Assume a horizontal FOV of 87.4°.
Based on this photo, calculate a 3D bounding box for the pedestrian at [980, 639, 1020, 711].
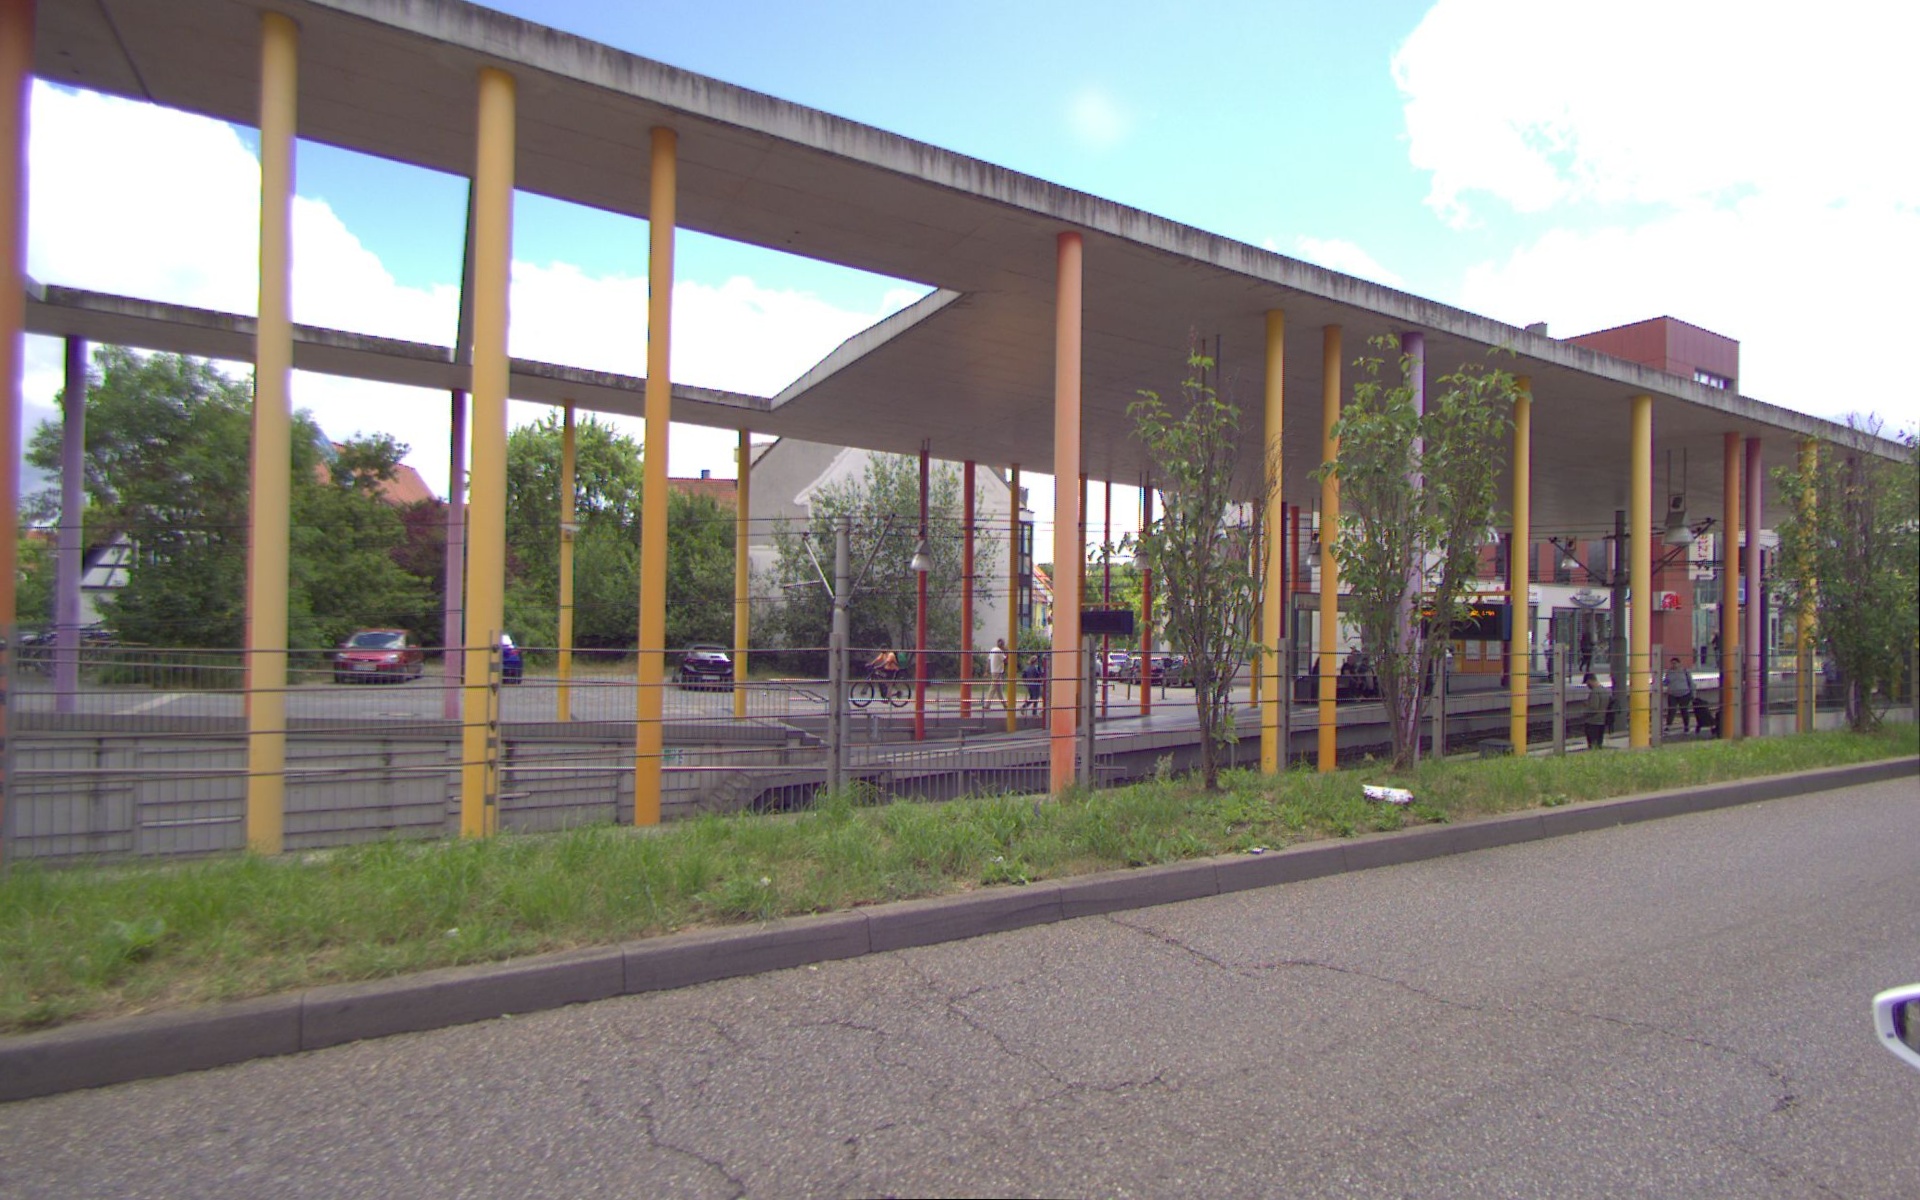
[{"bbox_3d":[1.095,2.057,27.486,0.791,1.908,0.639,3,-1,-30],"label":"pedestrian"}]

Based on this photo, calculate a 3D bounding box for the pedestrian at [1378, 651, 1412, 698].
[{"bbox_3d":[13.451,2.288,31.065,0.693,1.397,0.648,0,0,-29],"label":"pedestrian"}]

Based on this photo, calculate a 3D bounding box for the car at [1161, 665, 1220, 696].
[{"bbox_3d":[11.069,3.892,48.501,1.617,1.341,3.717,3,-5,-6],"label":"car"}]

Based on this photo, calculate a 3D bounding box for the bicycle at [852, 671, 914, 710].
[{"bbox_3d":[-2.089,2.468,27.368,1.592,0.975,0.482,4,-1,-28],"label":"bicycle"}]

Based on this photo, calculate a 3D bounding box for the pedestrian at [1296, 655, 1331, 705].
[{"bbox_3d":[10.377,2.332,29.496,0.696,1.397,0.683,0,0,-29],"label":"pedestrian"}]

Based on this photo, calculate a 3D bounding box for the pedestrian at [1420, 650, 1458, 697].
[{"bbox_3d":[15.217,2.319,31.925,0.693,1.397,0.819,0,0,-29],"label":"pedestrian"}]

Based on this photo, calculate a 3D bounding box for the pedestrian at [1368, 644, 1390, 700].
[{"bbox_3d":[13.882,2.369,33.286,0.486,1.799,0.480,0,1,-32],"label":"pedestrian"}]

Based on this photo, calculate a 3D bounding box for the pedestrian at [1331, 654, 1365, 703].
[{"bbox_3d":[11.655,2.356,30.191,0.693,1.397,0.648,0,0,-29],"label":"pedestrian"}]

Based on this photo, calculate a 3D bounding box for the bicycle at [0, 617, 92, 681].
[{"bbox_3d":[-20.020,1.043,21.529,2.027,1.285,0.531,3,-1,-17],"label":"bicycle"}]

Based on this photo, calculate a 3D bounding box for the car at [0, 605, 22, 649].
[{"bbox_3d":[-39.147,1.034,38.702,3.941,1.692,1.895,0,0,-21],"label":"car"}]

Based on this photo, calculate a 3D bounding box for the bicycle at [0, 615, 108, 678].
[{"bbox_3d":[-20.232,1.026,22.193,2.027,1.285,0.531,3,-1,-17],"label":"bicycle"}]

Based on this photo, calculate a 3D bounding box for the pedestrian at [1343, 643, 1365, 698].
[{"bbox_3d":[13.366,2.379,34.058,0.486,1.845,0.480,0,1,-32],"label":"pedestrian"}]

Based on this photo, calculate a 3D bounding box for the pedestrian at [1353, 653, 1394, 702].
[{"bbox_3d":[12.528,2.341,30.429,0.693,1.397,0.923,0,0,-29],"label":"pedestrian"}]

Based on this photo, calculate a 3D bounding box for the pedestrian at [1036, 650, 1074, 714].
[{"bbox_3d":[2.602,2.239,27.438,0.722,1.683,0.639,3,-1,-30],"label":"pedestrian"}]

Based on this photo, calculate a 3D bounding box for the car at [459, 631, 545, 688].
[{"bbox_3d":[-13.462,1.717,29.730,1.544,1.419,3.989,3,-1,-14],"label":"car"}]

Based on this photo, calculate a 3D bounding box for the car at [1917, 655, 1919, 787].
[{"bbox_3d":[11.269,0.783,9.404,5.004,1.942,1.995,2,0,-30],"label":"car"}]

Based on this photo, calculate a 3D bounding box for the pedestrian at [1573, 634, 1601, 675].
[{"bbox_3d":[26.656,2.322,42.703,0.833,1.671,0.653,3,-1,-30],"label":"pedestrian"}]

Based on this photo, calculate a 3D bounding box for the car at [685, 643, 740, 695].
[{"bbox_3d":[-7.877,2.151,31.997,1.544,1.354,3.989,3,-1,-14],"label":"car"}]

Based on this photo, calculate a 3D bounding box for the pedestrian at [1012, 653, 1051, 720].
[{"bbox_3d":[1.879,2.273,26.409,0.722,1.683,0.639,3,-1,-30],"label":"pedestrian"}]

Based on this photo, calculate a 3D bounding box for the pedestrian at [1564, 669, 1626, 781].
[{"bbox_3d":[10.973,2.139,17.360,0.701,1.854,0.584,3,-1,-28],"label":"pedestrian"}]

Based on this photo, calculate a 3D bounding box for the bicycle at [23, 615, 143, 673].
[{"bbox_3d":[-20.780,1.045,23.837,2.027,1.285,0.531,3,-1,-17],"label":"bicycle"}]

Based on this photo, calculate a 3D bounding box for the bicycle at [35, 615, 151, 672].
[{"bbox_3d":[-21.055,1.064,24.438,2.027,1.285,0.531,3,-1,-17],"label":"bicycle"}]

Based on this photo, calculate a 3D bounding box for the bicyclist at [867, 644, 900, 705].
[{"bbox_3d":[-2.087,2.015,27.361,0.673,1.614,0.482,3,-1,-27],"label":"bicyclist"}]

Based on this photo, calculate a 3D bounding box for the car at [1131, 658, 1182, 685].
[{"bbox_3d":[10.420,3.825,53.492,1.617,1.341,3.717,3,-5,-6],"label":"car"}]

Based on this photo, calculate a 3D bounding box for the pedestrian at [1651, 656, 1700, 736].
[{"bbox_3d":[15.301,2.035,21.476,0.628,1.636,0.627,0,0,-29],"label":"pedestrian"}]

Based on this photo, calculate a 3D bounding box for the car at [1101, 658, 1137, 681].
[{"bbox_3d":[10.059,4.448,63.743,1.615,1.341,3.720,3,-5,-1],"label":"car"}]

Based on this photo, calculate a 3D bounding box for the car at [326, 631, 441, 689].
[{"bbox_3d":[-15.998,1.626,28.085,1.697,1.354,3.989,3,-1,-14],"label":"car"}]

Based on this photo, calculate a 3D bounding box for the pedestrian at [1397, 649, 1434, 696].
[{"bbox_3d":[14.288,2.269,31.508,0.693,1.397,0.819,0,0,-29],"label":"pedestrian"}]
